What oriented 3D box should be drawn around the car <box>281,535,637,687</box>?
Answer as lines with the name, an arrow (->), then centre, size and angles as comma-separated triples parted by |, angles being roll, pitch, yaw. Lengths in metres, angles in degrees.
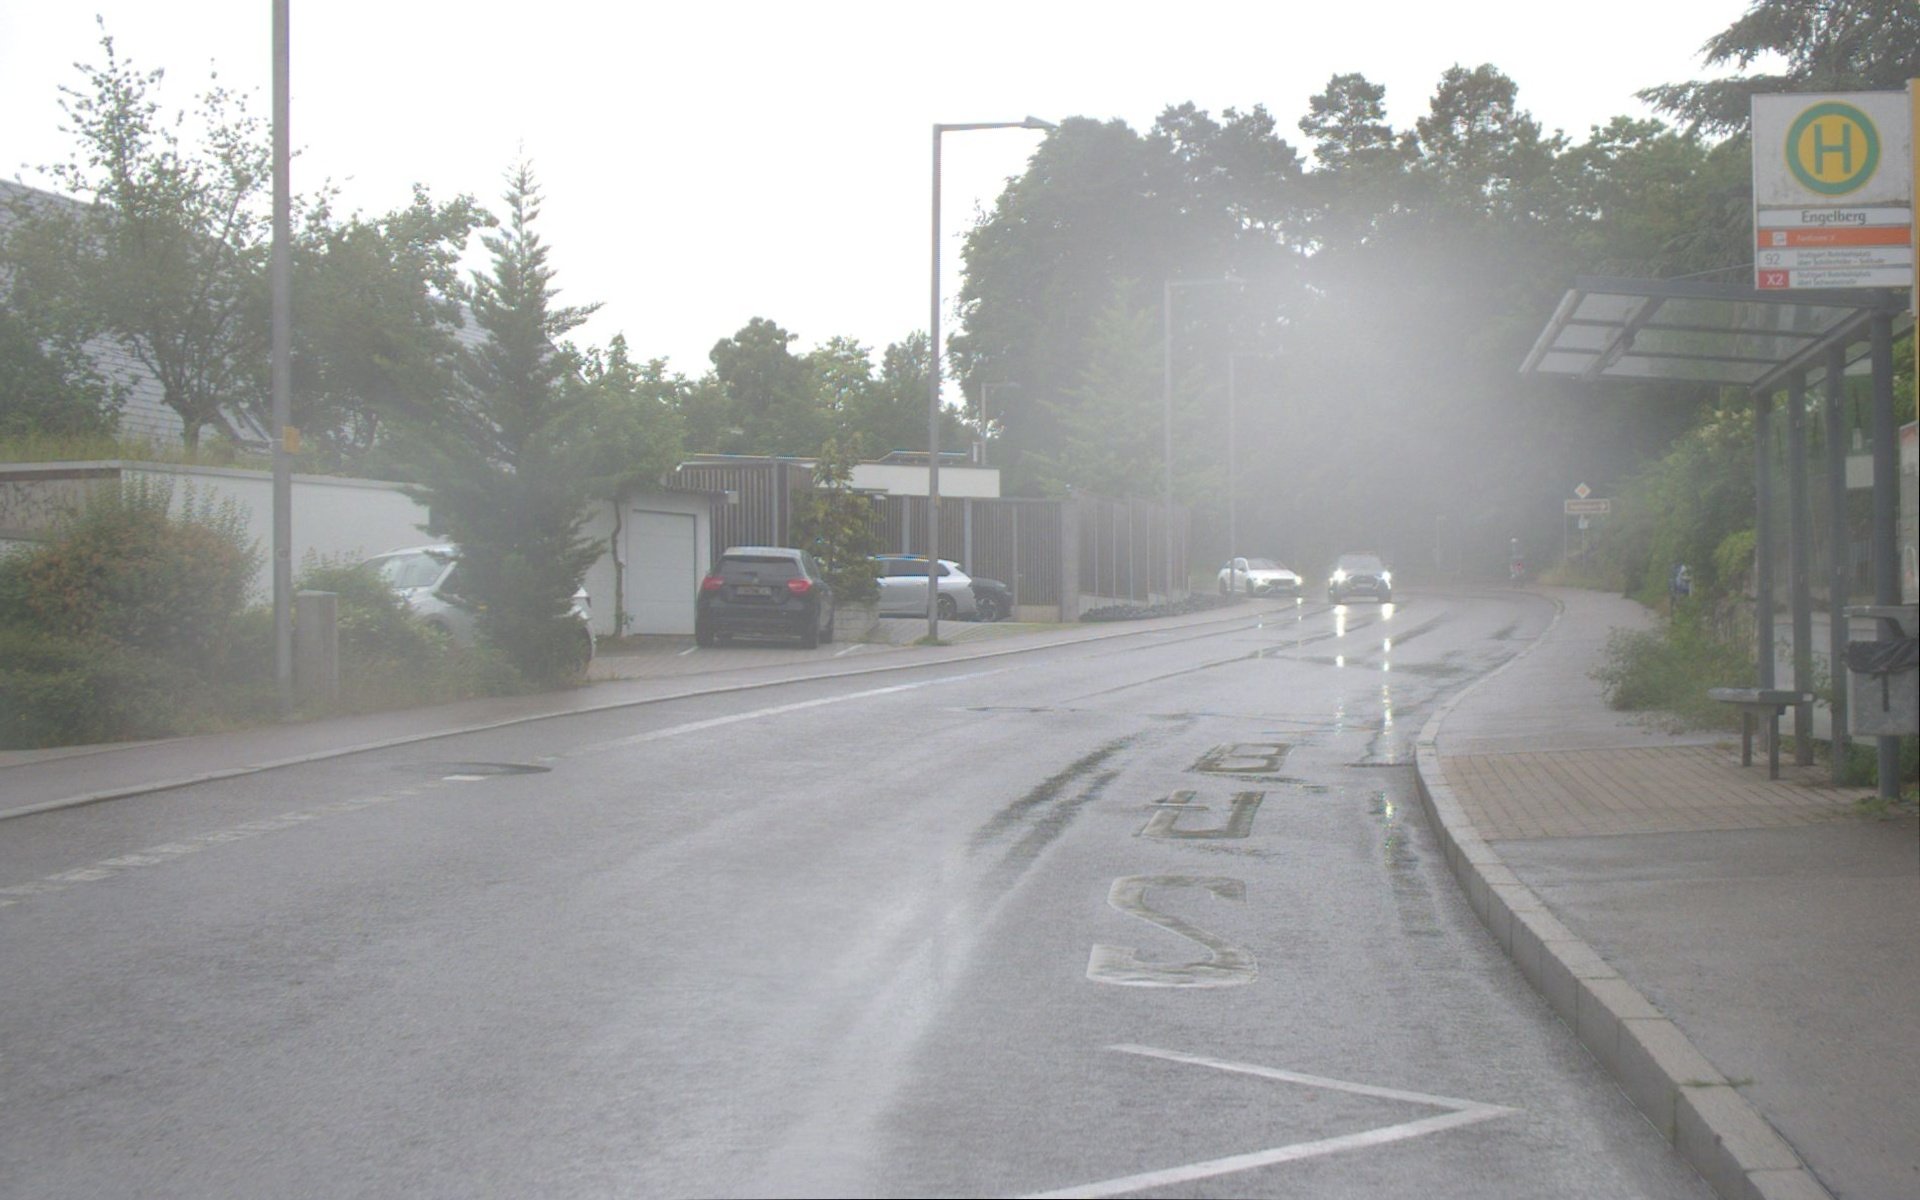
car -> -5.383, 0.081, 37.497 | 1.707, 1.548, 4.383 | 1, 1, 25

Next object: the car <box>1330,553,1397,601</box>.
car -> 12.524, -0.729, 106.903 | 1.851, 1.464, 3.699 | 0, 1, 4

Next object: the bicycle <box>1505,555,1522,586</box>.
bicycle -> 19.385, -1.026, 120.405 | 0.527, 1.081, 1.620 | 1, 1, 7

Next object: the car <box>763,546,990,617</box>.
car -> -1.776, -0.402, 73.597 | 4.518, 1.437, 1.761 | 1, 1, -28

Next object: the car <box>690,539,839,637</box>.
car -> -2.882, -0.213, 51.503 | 1.834, 1.401, 4.260 | 0, 1, 2

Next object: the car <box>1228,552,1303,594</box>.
car -> 11.016, -0.979, 124.178 | 1.846, 1.455, 4.269 | 0, 1, -7

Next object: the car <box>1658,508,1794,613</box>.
car -> 13.293, -0.692, 59.907 | 1.994, 1.664, 4.542 | -3, 0, 10
